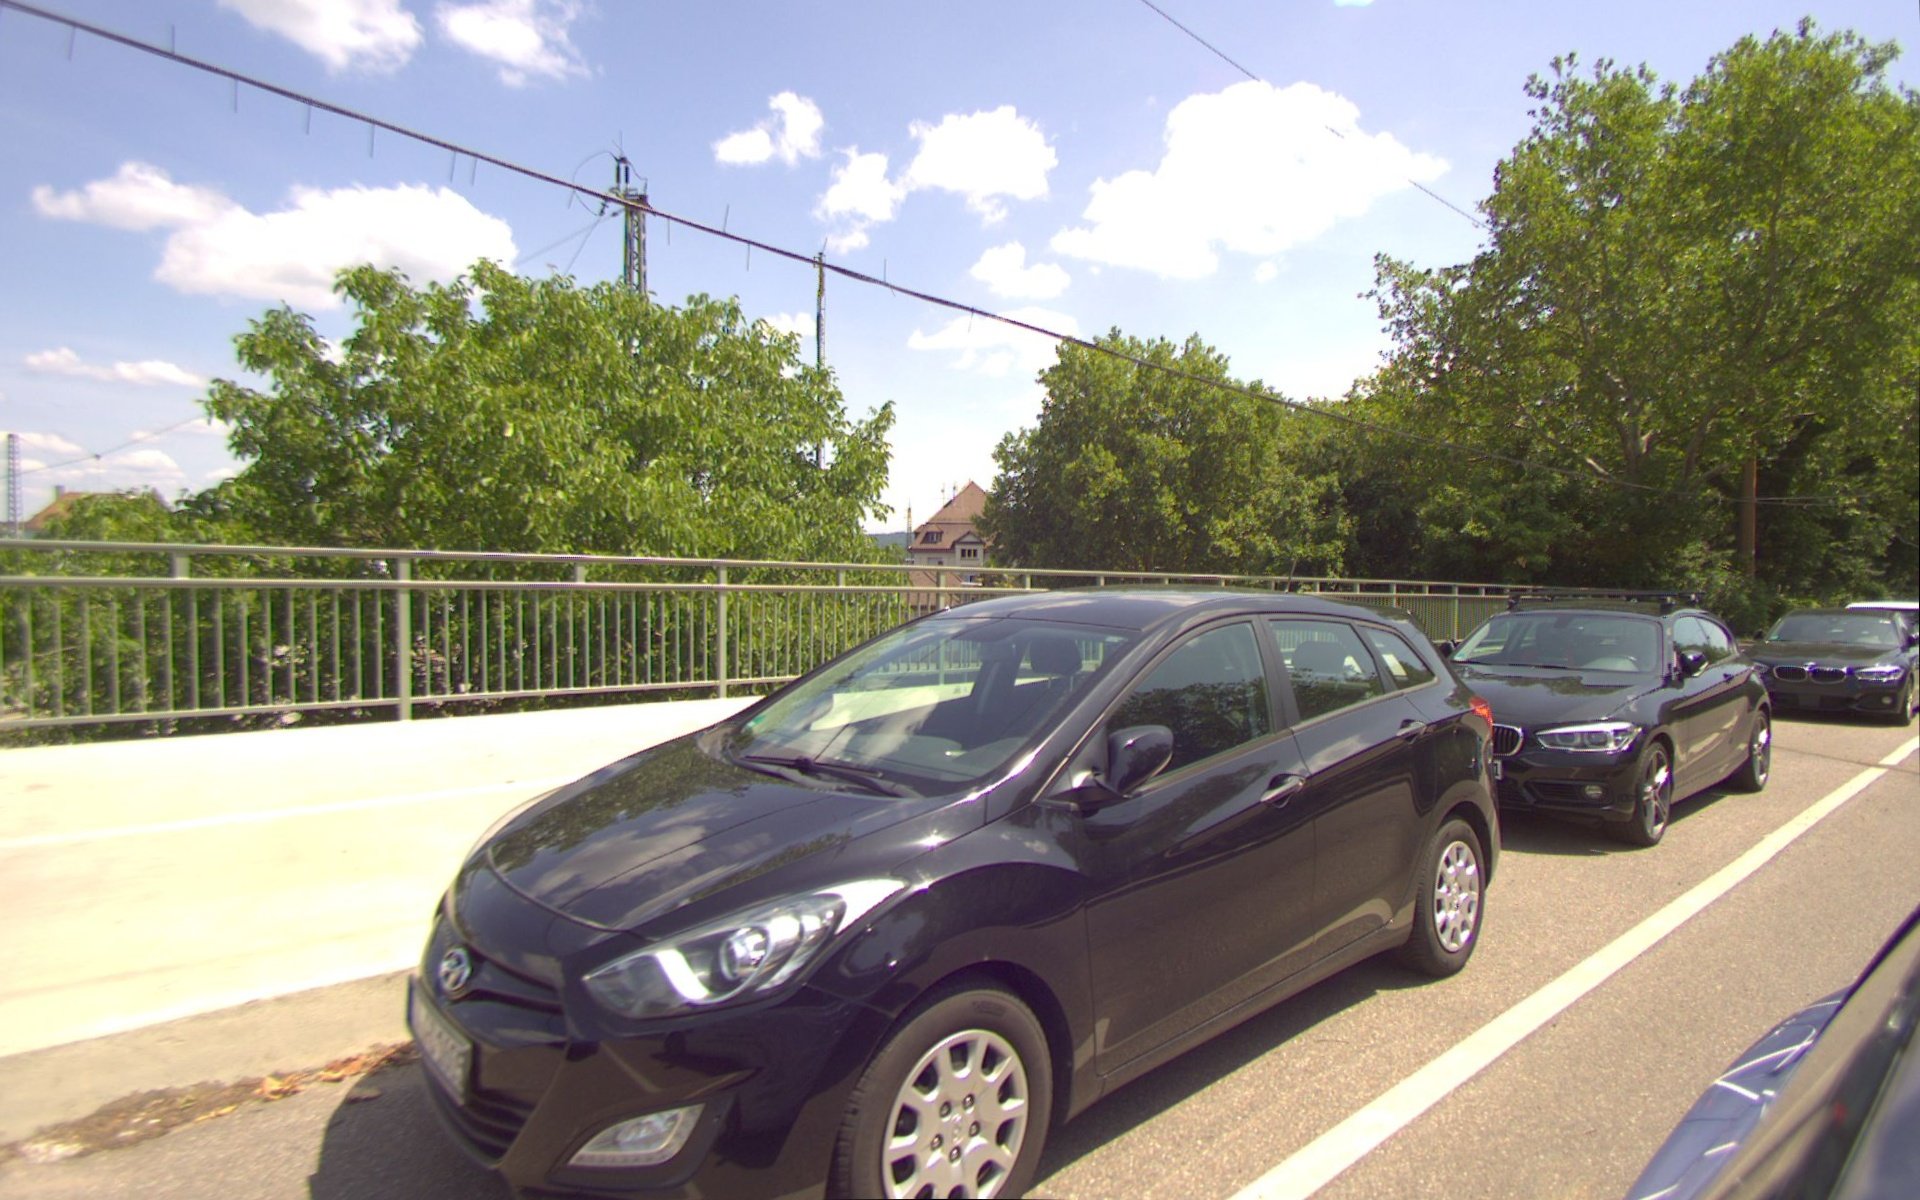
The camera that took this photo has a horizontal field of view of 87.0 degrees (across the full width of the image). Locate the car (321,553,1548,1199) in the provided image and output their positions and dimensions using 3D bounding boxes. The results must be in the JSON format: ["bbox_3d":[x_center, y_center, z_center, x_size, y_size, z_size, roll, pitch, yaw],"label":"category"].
[{"bbox_3d":[0.398,0.660,3.588,4.311,1.472,1.638,0,0,-41],"label":"car"}]

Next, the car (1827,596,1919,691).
[{"bbox_3d":[16.309,0.683,17.287,4.086,1.450,1.682,0,2,-41],"label":"car"}]

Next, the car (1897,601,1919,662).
[{"bbox_3d":[24.809,0.761,25.076,4.170,1.449,1.829,0,0,-40],"label":"car"}]

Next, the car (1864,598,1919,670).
[{"bbox_3d":[20.879,0.686,21.571,4.170,1.449,1.829,0,0,-40],"label":"car"}]

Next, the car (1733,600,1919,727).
[{"bbox_3d":[11.873,0.732,13.495,3.634,1.407,1.758,0,2,-41],"label":"car"}]

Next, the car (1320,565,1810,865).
[{"bbox_3d":[4.543,0.603,7.356,4.085,1.578,1.829,0,0,-40],"label":"car"}]
